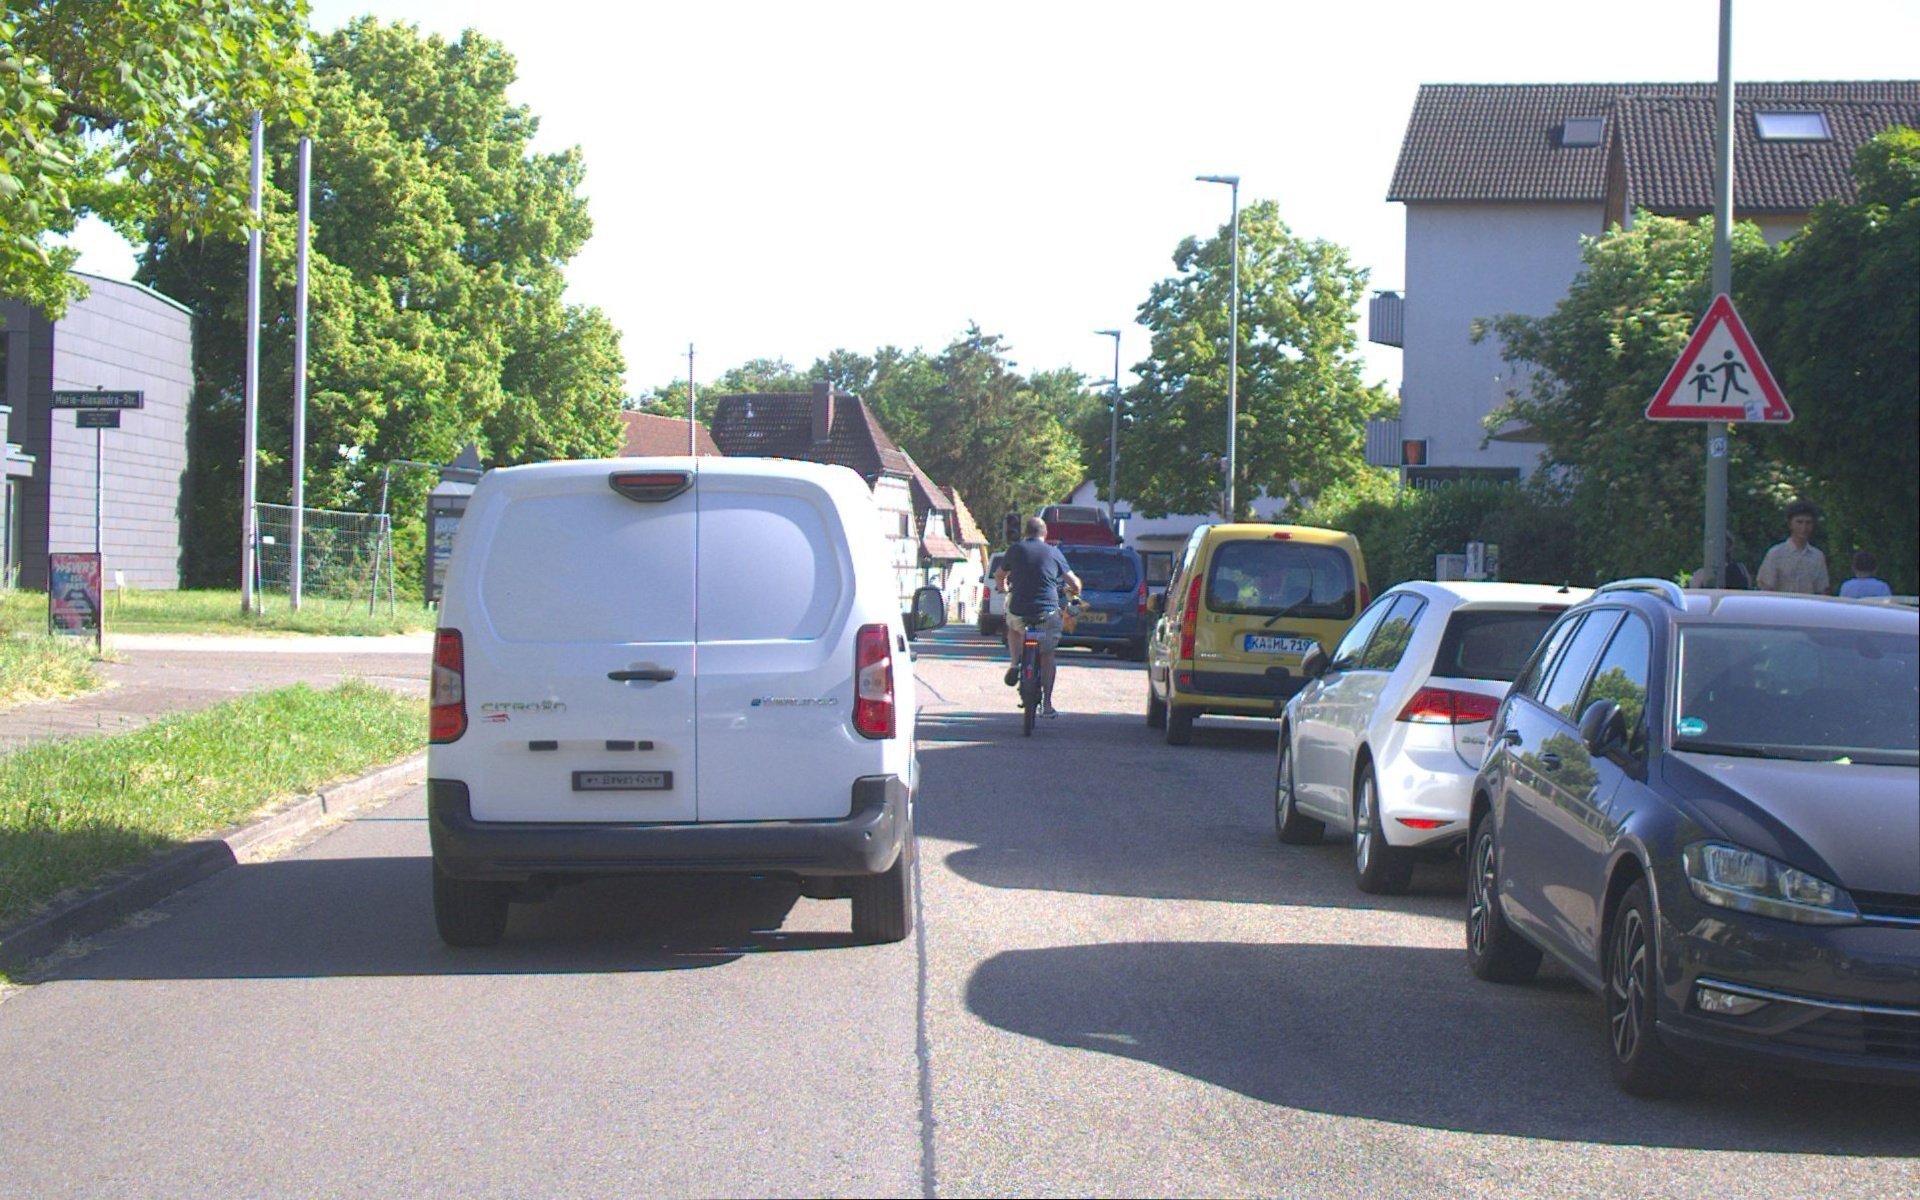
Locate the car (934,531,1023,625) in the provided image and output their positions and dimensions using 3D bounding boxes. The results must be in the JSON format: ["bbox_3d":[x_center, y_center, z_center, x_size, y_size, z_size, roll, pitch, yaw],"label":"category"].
[{"bbox_3d":[0.413,-0.511,81.663,1.804,2.061,4.000,4,0,-2],"label":"car"}]

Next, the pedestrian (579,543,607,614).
[{"bbox_3d":[-9.375,-0.545,87.799,0.621,1.799,0.640,2,-1,-2],"label":"pedestrian"}]

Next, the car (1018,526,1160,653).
[{"bbox_3d":[2.034,-0.162,55.303,1.804,1.779,4.000,7,0,-2],"label":"car"}]

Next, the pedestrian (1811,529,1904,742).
[{"bbox_3d":[7.005,0.266,26.857,0.567,1.631,0.546,2,1,5],"label":"pedestrian"}]

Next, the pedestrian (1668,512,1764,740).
[{"bbox_3d":[5.511,0.185,25.074,0.567,1.631,0.546,2,1,5],"label":"pedestrian"}]

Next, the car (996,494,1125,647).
[{"bbox_3d":[1.781,-0.521,62.519,1.866,2.553,4.768,4,0,-2],"label":"car"}]

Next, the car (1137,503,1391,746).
[{"bbox_3d":[2.469,0.170,28.763,1.724,1.831,4.000,2,1,0],"label":"car"}]

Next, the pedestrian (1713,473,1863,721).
[{"bbox_3d":[6.362,-0.031,26.447,0.793,1.855,0.874,2,1,-8],"label":"pedestrian"}]

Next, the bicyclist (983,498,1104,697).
[{"bbox_3d":[0.677,-0.018,28.329,0.905,1.579,0.966,2,0,-1],"label":"bicyclist"}]

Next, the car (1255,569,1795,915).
[{"bbox_3d":[2.643,0.605,17.025,1.826,1.447,4.000,2,1,-2],"label":"car"}]

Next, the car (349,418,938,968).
[{"bbox_3d":[-1.126,0.283,14.207,1.993,1.875,4.289,2,1,0],"label":"car"}]

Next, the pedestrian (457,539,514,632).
[{"bbox_3d":[-7.655,-0.226,55.438,0.510,1.441,0.638,5,1,32],"label":"pedestrian"}]

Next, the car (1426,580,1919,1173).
[{"bbox_3d":[2.731,0.715,10.964,1.807,1.438,4.363,2,1,-1],"label":"car"}]

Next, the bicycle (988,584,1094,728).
[{"bbox_3d":[0.651,0.446,28.315,0.787,1.135,2.280,0,0,-1],"label":"bicycle"}]

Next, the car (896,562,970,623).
[{"bbox_3d":[-0.860,-0.214,111.859,1.804,1.836,3.999,4,0,7],"label":"car"}]
